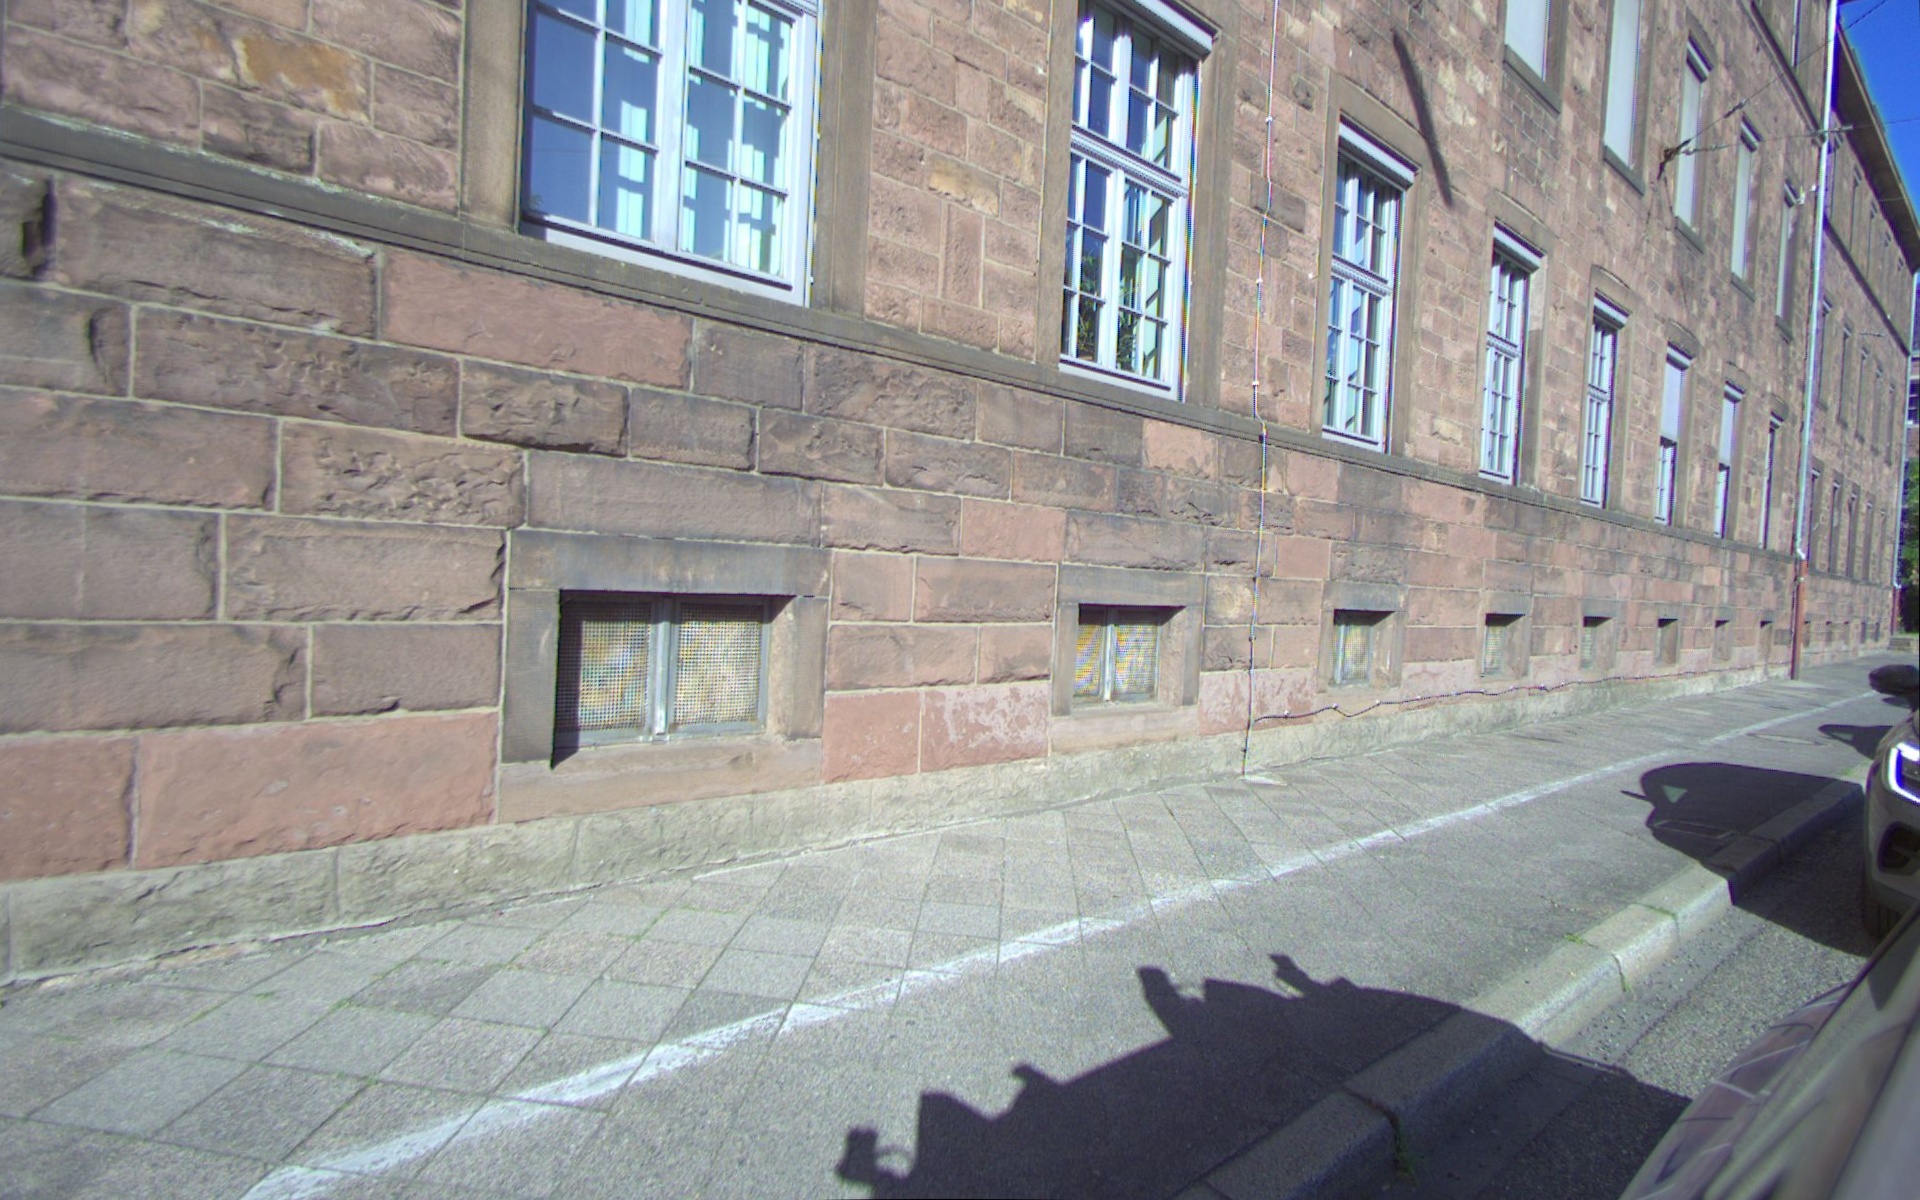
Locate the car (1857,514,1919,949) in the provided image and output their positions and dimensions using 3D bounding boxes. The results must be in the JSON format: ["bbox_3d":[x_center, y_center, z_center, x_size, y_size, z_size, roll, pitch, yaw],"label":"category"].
[{"bbox_3d":[5.448,0.530,4.524,3.735,1.624,1.793,1,1,-43],"label":"car"}]
